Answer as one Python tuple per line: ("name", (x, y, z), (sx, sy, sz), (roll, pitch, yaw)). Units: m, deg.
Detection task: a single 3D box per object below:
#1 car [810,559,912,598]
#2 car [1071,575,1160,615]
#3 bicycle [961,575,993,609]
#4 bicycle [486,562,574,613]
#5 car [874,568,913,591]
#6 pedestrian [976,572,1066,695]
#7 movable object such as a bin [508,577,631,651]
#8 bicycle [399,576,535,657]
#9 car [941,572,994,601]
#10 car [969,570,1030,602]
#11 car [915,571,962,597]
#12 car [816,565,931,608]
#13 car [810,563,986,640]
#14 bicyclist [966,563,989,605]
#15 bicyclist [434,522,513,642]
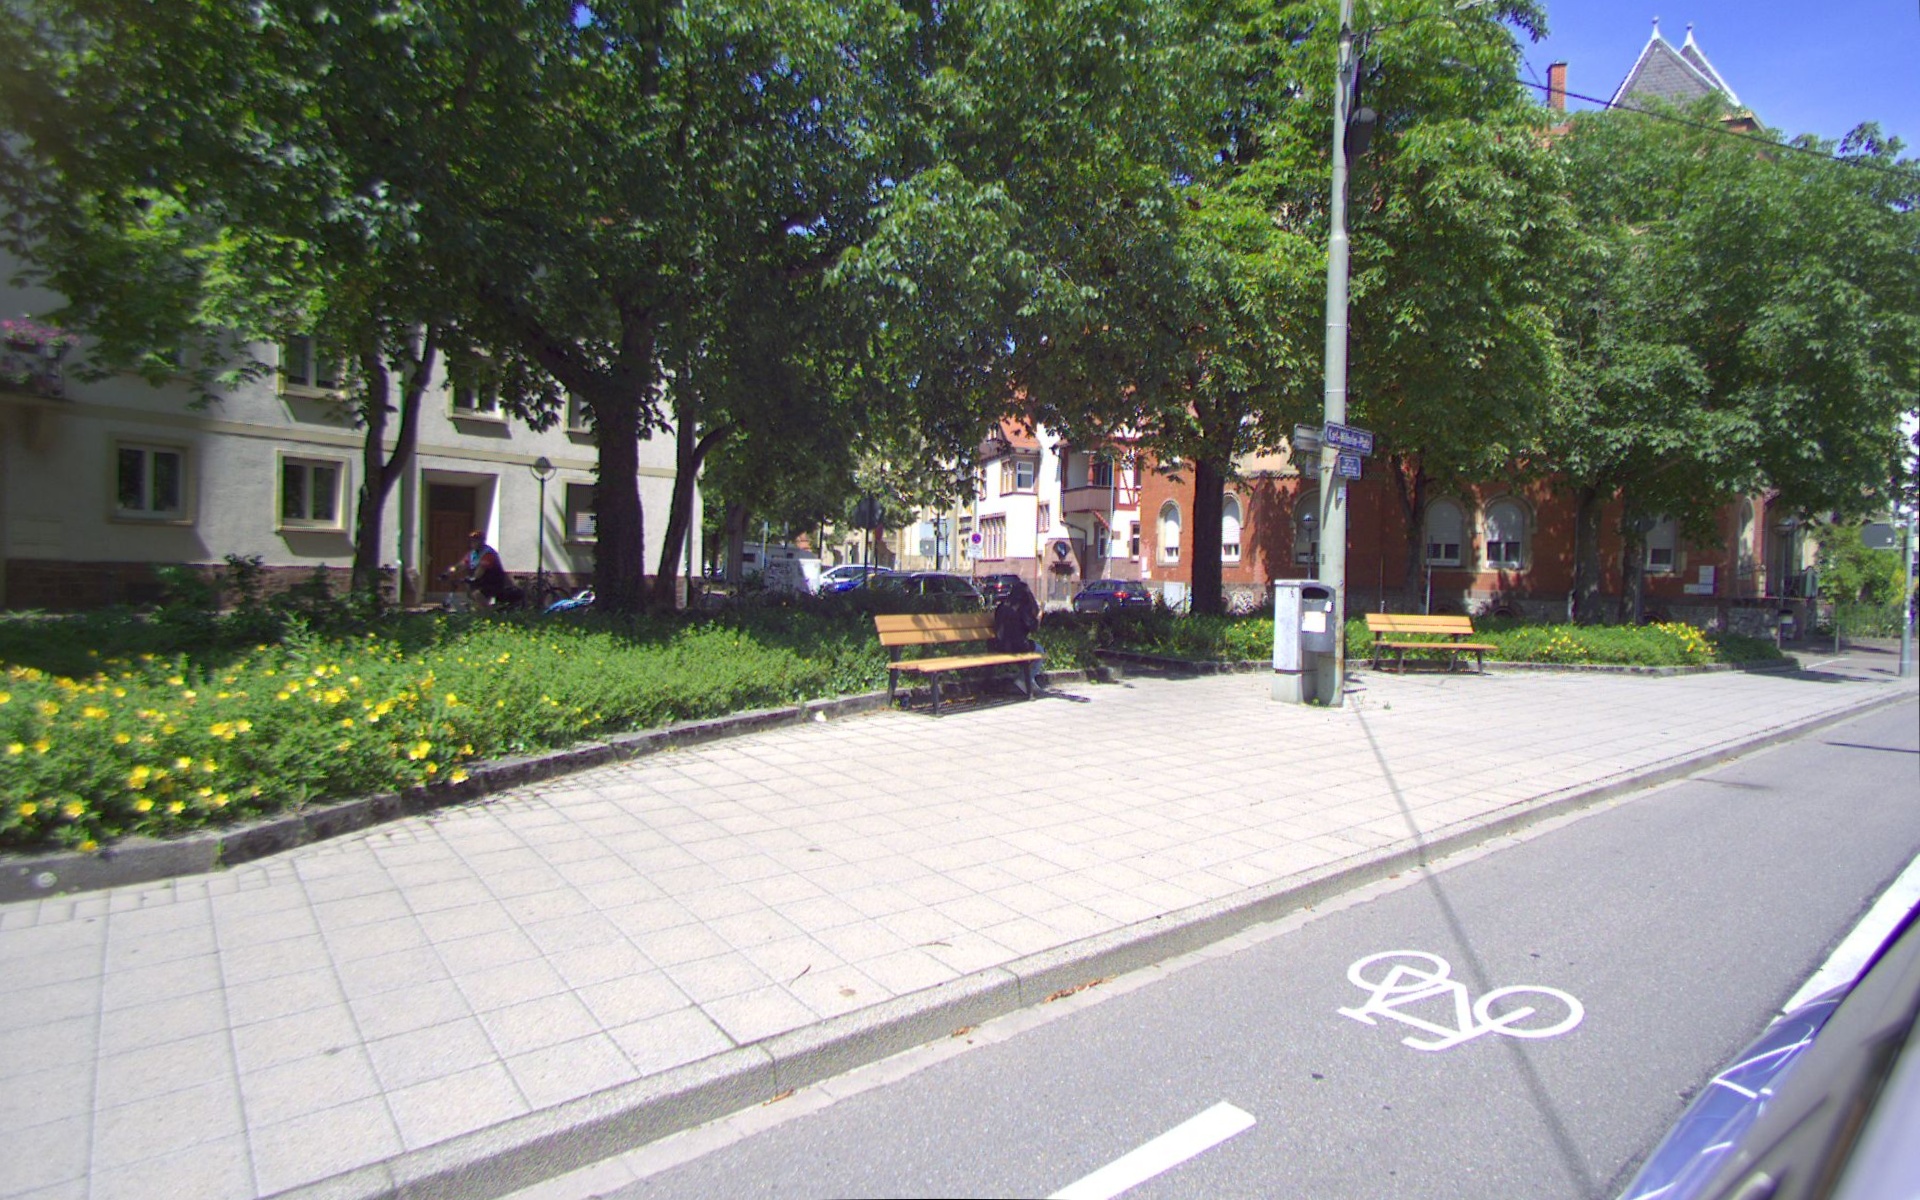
("car", (-4.426, -0.955, 45.104), (4.228, 1.582, 1.648), (1, 1, -19))
("car", (6.198, -0.238, 40.882), (1.610, 1.470, 4.329), (1, 1, -20))
("bicycle", (0.680, -0.334, 40.635), (0.627, 1.309, 1.936), (1, 1, -19))
("bicycle", (-10.340, -0.304, 24.368), (0.513, 1.169, 1.904), (2, 1, 42))
("car", (-4.924, -1.543, 74.648), (1.668, 1.582, 4.255), (1, 1, -20))
("pedestrian", (0.616, 0.315, 10.141), (0.648, 1.164, 0.635), (2, 1, 35))
("movable object such as a bin", (-6.565, 0.214, 17.067), (0.863, 1.169, 1.741), (2, 1, 37))
("bicycle", (-7.573, 0.226, 15.613), (0.677, 1.169, 1.780), (2, 1, 36))
("car", (0.400, -0.810, 58.878), (1.668, 1.582, 4.255), (1, 1, -20))
("car", (2.054, -0.769, 53.993), (1.668, 1.582, 4.255), (1, 1, -20))
("car", (-1.387, -1.036, 63.840), (1.668, 1.582, 4.255), (1, 1, -20))
("car", (-3.411, -0.534, 39.992), (4.228, 1.582, 1.648), (1, 1, -19))
("car", (-1.342, 0.002, 23.109), (1.608, 1.582, 4.004), (2, 2, 42))
("bicyclist", (0.693, -0.642, 40.631), (0.627, 1.643, 0.865), (1, 1, -19))
("bicyclist", (-7.515, -0.289, 15.635), (0.695, 1.789, 0.853), (2, 1, 37))
